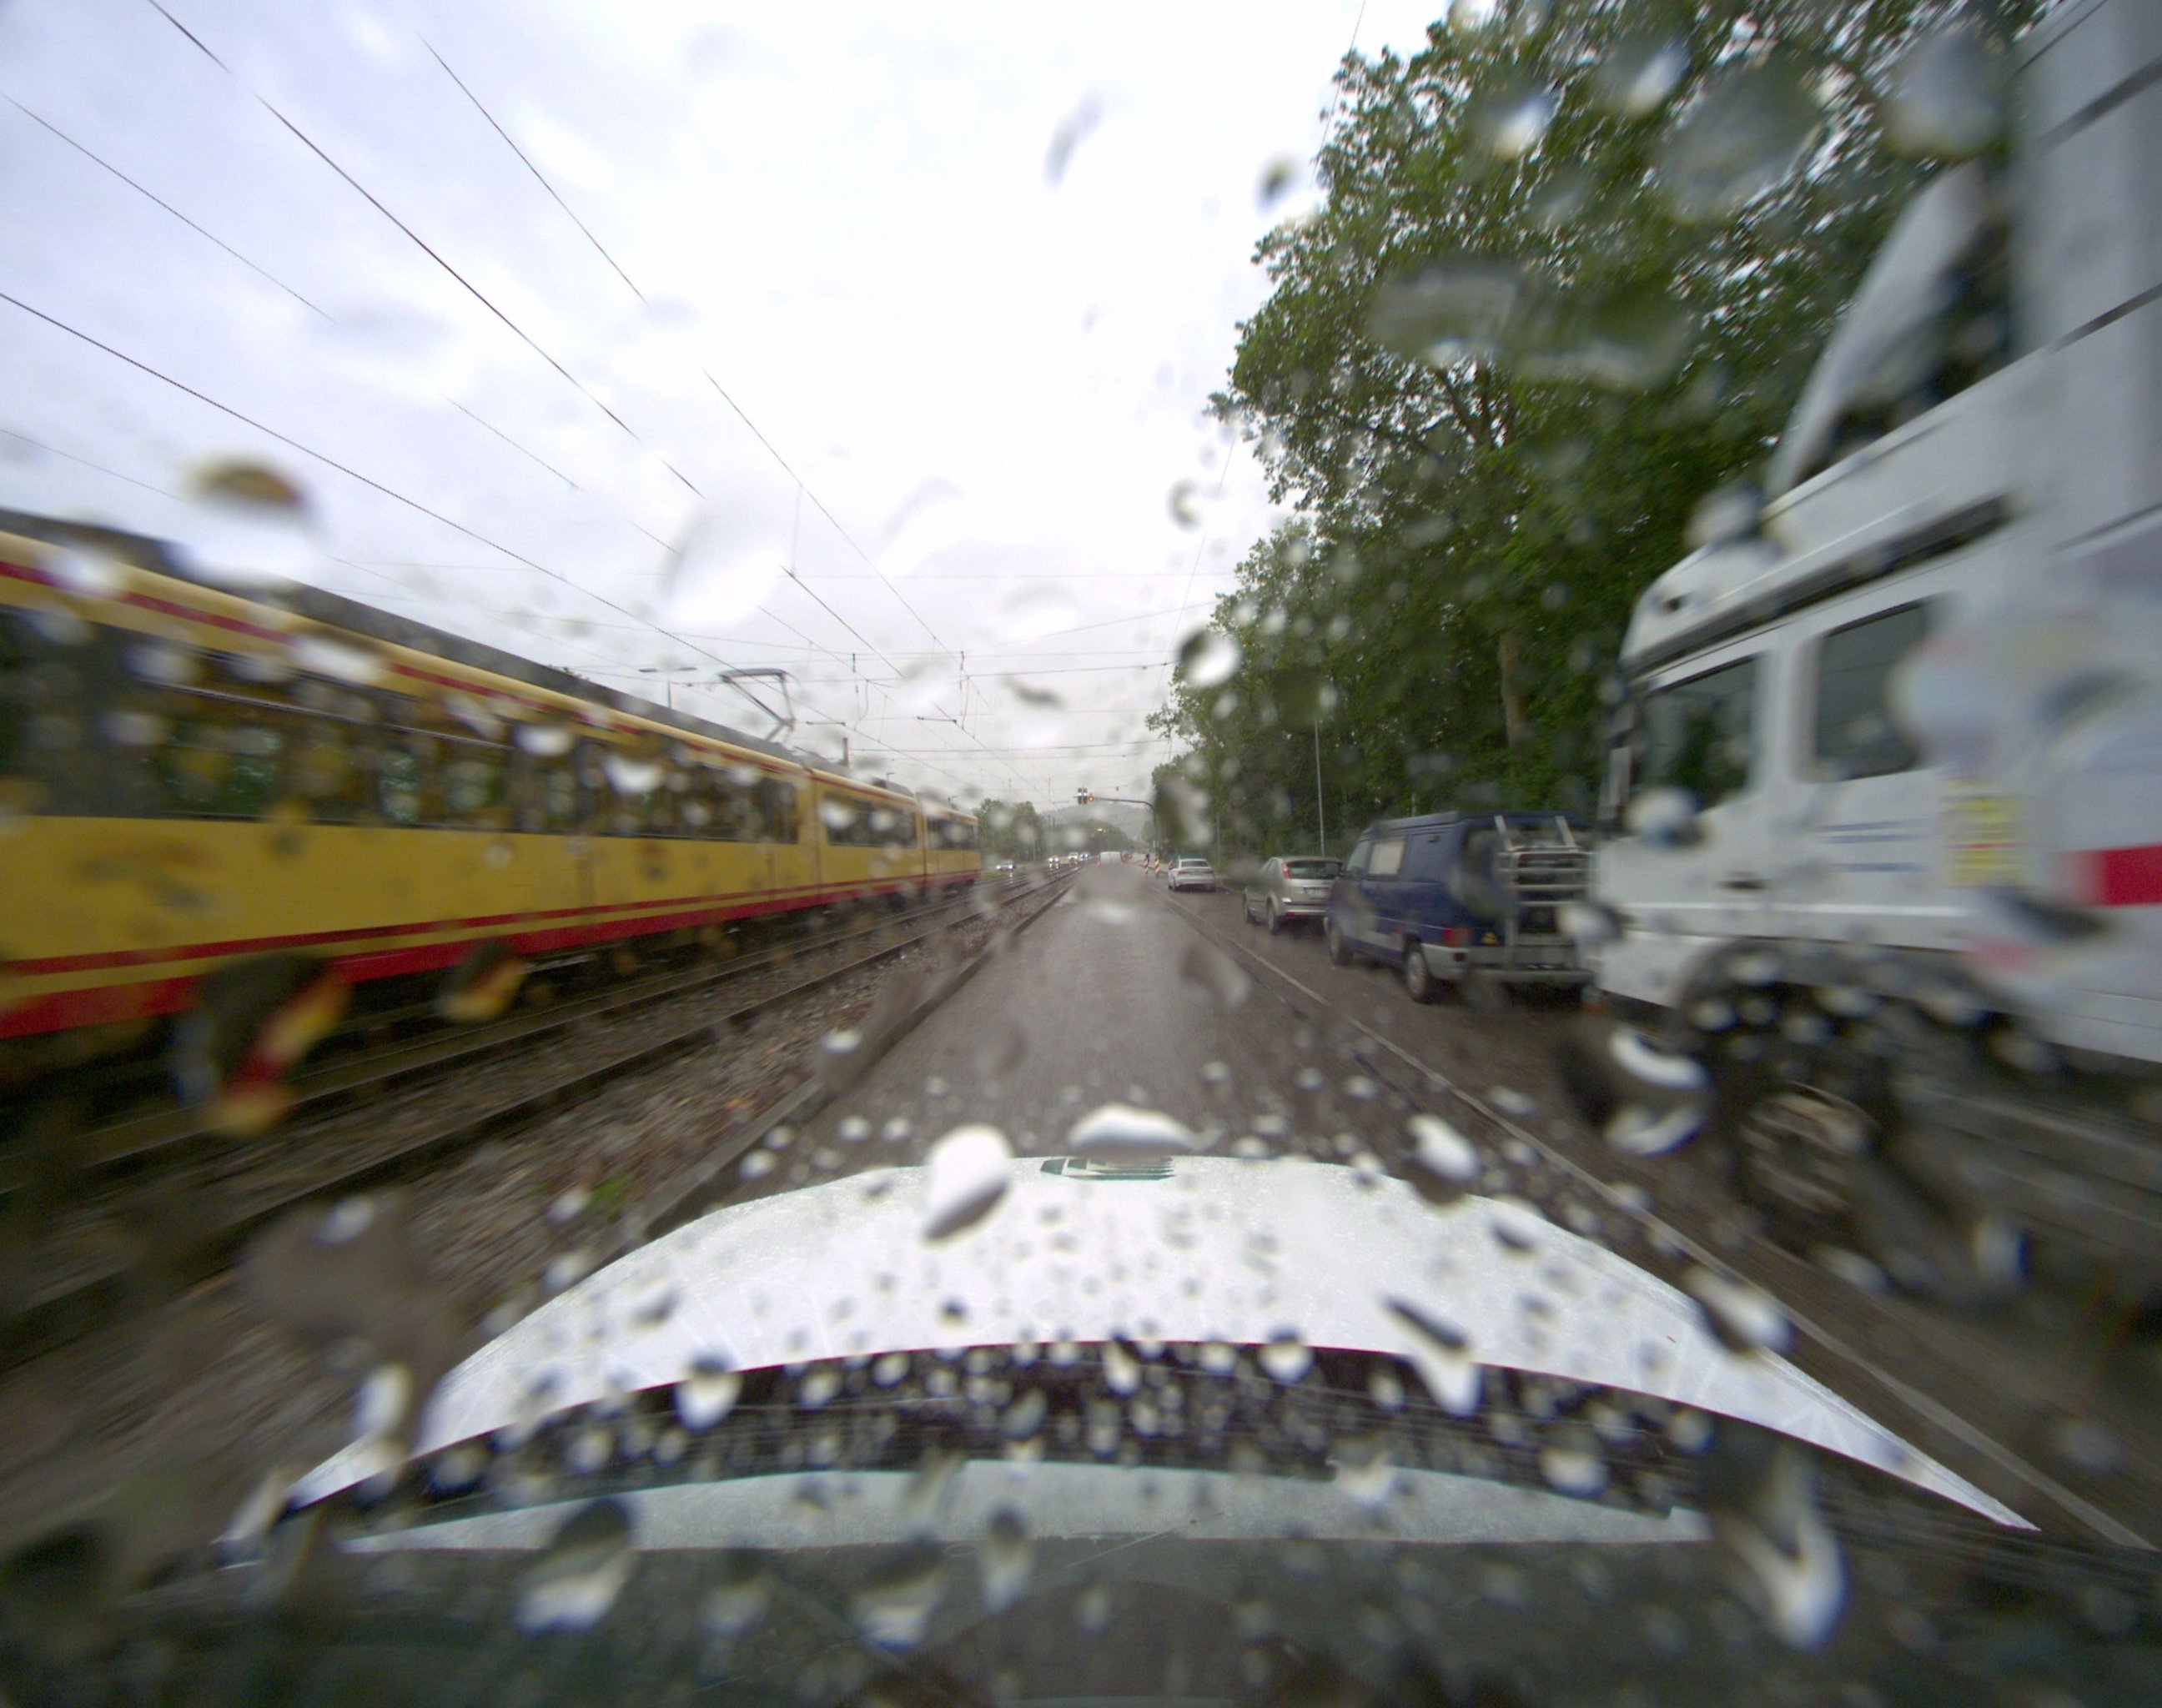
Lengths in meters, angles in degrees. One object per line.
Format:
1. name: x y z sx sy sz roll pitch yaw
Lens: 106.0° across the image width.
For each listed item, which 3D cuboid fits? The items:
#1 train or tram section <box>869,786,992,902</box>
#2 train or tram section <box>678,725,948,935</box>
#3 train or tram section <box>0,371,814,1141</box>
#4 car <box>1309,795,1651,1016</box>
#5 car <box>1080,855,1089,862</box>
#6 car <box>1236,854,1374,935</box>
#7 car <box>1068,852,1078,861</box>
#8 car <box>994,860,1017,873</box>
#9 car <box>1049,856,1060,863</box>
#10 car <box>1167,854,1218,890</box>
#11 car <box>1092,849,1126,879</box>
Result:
1. train or tram section: -5.994 -0.290 34.475 2.799 4.150 10.275 -1 -1 3
2. train or tram section: -6.448 -0.425 22.815 2.795 4.150 13.024 -1 -1 2
3. train or tram section: -6.994 -0.498 9.720 2.796 4.150 13.026 -1 0 2
4. car: 4.337 0.469 9.927 1.869 2.013 4.982 0 0 2
5. car: 0.958 1.230 217.595 1.985 1.948 4.003 -1 -1 3
6. car: 4.468 0.753 16.922 1.806 1.459 4.347 0 -1 2
7. car: -1.823 0.594 191.067 1.985 2.014 4.003 -1 -1 3
8. car: -8.864 1.414 96.198 1.986 1.404 5.387 -2 0 2
9. car: -5.177 1.036 156.999 1.813 1.398 4.001 -2 0 1
10. car: 4.886 0.750 36.159 1.812 1.486 4.482 0 0 2
11. car: 1.793 0.636 53.542 1.988 1.849 3.997 -1 0 -2
